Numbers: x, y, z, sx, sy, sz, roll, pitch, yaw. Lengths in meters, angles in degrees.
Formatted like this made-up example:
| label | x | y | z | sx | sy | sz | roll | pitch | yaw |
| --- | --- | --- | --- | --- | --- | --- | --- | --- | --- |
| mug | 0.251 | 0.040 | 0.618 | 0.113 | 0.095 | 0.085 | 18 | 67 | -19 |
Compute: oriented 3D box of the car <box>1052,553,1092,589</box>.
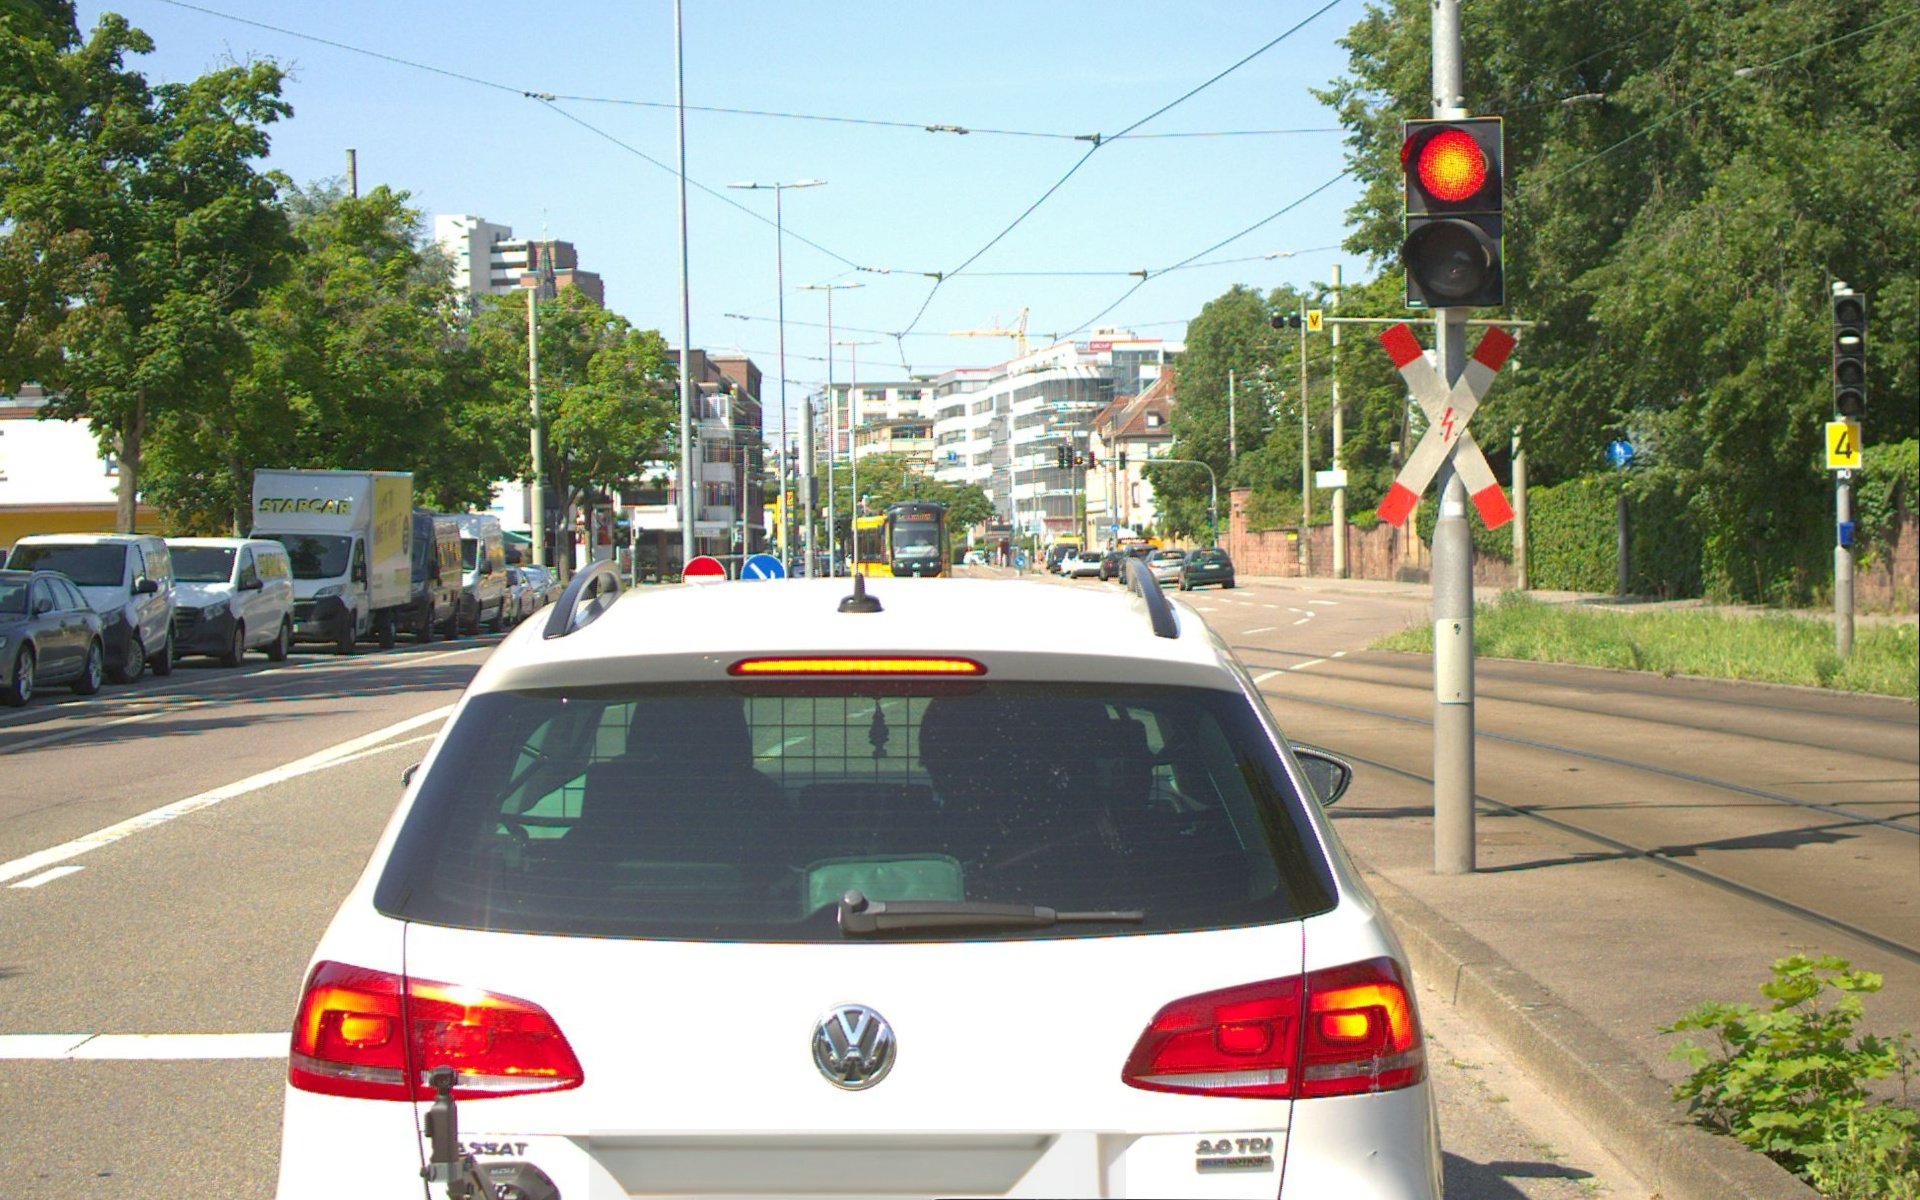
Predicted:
| label | x | y | z | sx | sy | sz | roll | pitch | yaw |
| --- | --- | --- | --- | --- | --- | --- | --- | --- | --- |
| car | 6.061 | -1.595 | 186.035 | 1.863 | 1.861 | 5.062 | 1 | 1 | -1 |

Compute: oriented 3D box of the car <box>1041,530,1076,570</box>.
| label | x | y | z | sx | sy | sz | roll | pitch | yaw |
| --- | --- | --- | --- | --- | --- | --- | --- | --- | --- |
| car | 6.818 | -3.487 | 238.756 | 2.056 | 2.750 | 5.632 | 1 | 1 | -1 |

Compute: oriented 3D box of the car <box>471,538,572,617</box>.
| label | x | y | z | sx | sy | sz | roll | pitch | yaw |
| --- | --- | --- | --- | --- | --- | --- | --- | --- | --- |
| car | -10.778 | -0.589 | 84.867 | 1.863 | 1.861 | 5.414 | 1 | 1 | -1 |

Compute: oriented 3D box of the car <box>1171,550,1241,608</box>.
| label | x | y | z | sx | sy | sz | roll | pitch | yaw |
| --- | --- | --- | --- | --- | --- | --- | --- | --- | --- |
| car | 8.309 | -0.737 | 116.618 | 1.863 | 1.861 | 5.062 | 1 | 1 | -1 |

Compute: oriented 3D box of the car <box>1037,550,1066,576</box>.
| label | x | y | z | sx | sy | sz | roll | pitch | yaw |
| --- | --- | --- | --- | --- | --- | --- | --- | --- | --- |
| car | 6.784 | -2.789 | 255.889 | 1.863 | 1.861 | 5.062 | 1 | 1 | -1 |

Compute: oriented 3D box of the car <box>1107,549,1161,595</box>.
| label | x | y | z | sx | sy | sz | roll | pitch | yaw |
| --- | --- | --- | --- | --- | --- | --- | --- | --- | --- |
| car | 7.372 | -1.193 | 146.074 | 1.863 | 1.861 | 5.062 | 1 | 1 | -1 |

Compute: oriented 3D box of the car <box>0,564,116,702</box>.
| label | x | y | z | sx | sy | sz | roll | pitch | yaw |
| --- | --- | --- | --- | --- | --- | --- | --- | --- | --- |
| car | -10.945 | 0.323 | 38.749 | 1.863 | 1.411 | 4.280 | 1 | 1 | -1 |

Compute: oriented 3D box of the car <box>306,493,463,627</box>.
| label | x | y | z | sx | sy | sz | roll | pitch | yaw |
| --- | --- | --- | --- | --- | --- | --- | --- | --- | --- |
| car | -11.366 | -0.816 | 68.316 | 2.123 | 2.508 | 5.733 | 1 | 1 | 0 |

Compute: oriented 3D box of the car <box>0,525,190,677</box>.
| label | x | y | z | sx | sy | sz | roll | pitch | yaw |
| --- | --- | --- | --- | --- | --- | --- | --- | --- | --- |
| car | -11.410 | -0.034 | 45.317 | 1.863 | 1.861 | 5.075 | 1 | 1 | -6 |

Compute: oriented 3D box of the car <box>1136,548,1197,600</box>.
| label | x | y | z | sx | sy | sz | roll | pitch | yaw |
| --- | --- | --- | --- | --- | --- | --- | --- | --- | --- |
| car | 7.767 | -1.009 | 129.619 | 1.863 | 1.861 | 5.062 | 1 | 1 | -1 |

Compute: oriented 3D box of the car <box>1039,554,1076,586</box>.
| label | x | y | z | sx | sy | sz | roll | pitch | yaw |
| --- | --- | --- | --- | --- | --- | --- | --- | --- | --- |
| car | 5.778 | -1.796 | 204.212 | 1.863 | 1.861 | 5.062 | 1 | 1 | -1 |

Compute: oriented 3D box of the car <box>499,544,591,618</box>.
| label | x | y | z | sx | sy | sz | roll | pitch | yaw |
| --- | --- | --- | --- | --- | --- | --- | --- | --- | --- |
| car | -11.031 | -0.533 | 91.684 | 1.863 | 1.861 | 5.414 | 1 | 1 | -1 |

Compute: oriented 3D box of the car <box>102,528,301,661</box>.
| label | x | y | z | sx | sy | sz | roll | pitch | yaw |
| --- | --- | --- | --- | --- | --- | --- | --- | --- | --- |
| car | -11.375 | -0.130 | 51.901 | 1.863 | 1.861 | 5.414 | 1 | 1 | -1 |

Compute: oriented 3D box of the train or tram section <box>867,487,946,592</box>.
| label | x | y | z | sx | sy | sz | roll | pitch | yaw |
| --- | --- | --- | --- | --- | --- | --- | --- | --- | --- |
| train or tram section | -2.086 | -2.386 | 134.601 | 2.870 | 3.842 | 12.392 | -1 | 1 | -1 |

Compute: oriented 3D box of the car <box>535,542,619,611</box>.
| label | x | y | z | sx | sy | sz | roll | pitch | yaw |
| --- | --- | --- | --- | --- | --- | --- | --- | --- | --- |
| car | -10.952 | -0.700 | 98.599 | 1.863 | 1.861 | 5.414 | 1 | 1 | -1 |

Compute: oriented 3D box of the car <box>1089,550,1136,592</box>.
| label | x | y | z | sx | sy | sz | roll | pitch | yaw |
| --- | --- | --- | --- | --- | --- | --- | --- | --- | --- |
| car | 7.196 | -1.390 | 162.605 | 1.863 | 1.861 | 5.062 | 1 | 1 | -1 |

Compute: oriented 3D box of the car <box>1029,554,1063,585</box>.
| label | x | y | z | sx | sy | sz | roll | pitch | yaw |
| --- | --- | --- | --- | --- | --- | --- | --- | --- | --- |
| car | 5.433 | -1.960 | 217.901 | 1.863 | 1.861 | 5.062 | 1 | 1 | -1 |

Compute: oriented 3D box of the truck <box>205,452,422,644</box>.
| label | x | y | z | sx | sy | sz | roll | pitch | yaw |
| --- | --- | --- | --- | --- | --- | --- | --- | --- | --- |
| truck | -11.234 | -0.926 | 60.314 | 2.421 | 3.139 | 6.997 | 1 | 1 | 0 |

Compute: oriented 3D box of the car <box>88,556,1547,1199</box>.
| label | x | y | z | sx | sy | sz | roll | pitch | yaw |
| --- | --- | --- | --- | --- | --- | --- | --- | --- | --- |
| car | -0.186 | 0.668 | 6.204 | 1.762 | 1.425 | 4.000 | -1 | 1 | -1 |

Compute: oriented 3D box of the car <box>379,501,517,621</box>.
| label | x | y | z | sx | sy | sz | roll | pitch | yaw |
| --- | --- | --- | --- | --- | --- | --- | --- | --- | --- |
| car | -11.226 | -0.886 | 75.753 | 2.123 | 2.508 | 5.733 | 1 | 1 | 0 |

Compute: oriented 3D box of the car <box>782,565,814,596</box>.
| label | x | y | z | sx | sy | sz | roll | pitch | yaw |
| --- | --- | --- | --- | --- | --- | --- | --- | --- | --- |
| car | -10.203 | -1.247 | 216.741 | 1.762 | 1.889 | 4.914 | 1 | 1 | -1 |

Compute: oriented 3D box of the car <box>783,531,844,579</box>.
| label | x | y | z | sx | sy | sz | roll | pitch | yaw |
| --- | --- | --- | --- | --- | --- | --- | --- | --- | --- |
| car | -4.760 | -1.485 | 112.370 | 1.705 | 1.468 | 4.589 | -2 | 1 | 1 |
